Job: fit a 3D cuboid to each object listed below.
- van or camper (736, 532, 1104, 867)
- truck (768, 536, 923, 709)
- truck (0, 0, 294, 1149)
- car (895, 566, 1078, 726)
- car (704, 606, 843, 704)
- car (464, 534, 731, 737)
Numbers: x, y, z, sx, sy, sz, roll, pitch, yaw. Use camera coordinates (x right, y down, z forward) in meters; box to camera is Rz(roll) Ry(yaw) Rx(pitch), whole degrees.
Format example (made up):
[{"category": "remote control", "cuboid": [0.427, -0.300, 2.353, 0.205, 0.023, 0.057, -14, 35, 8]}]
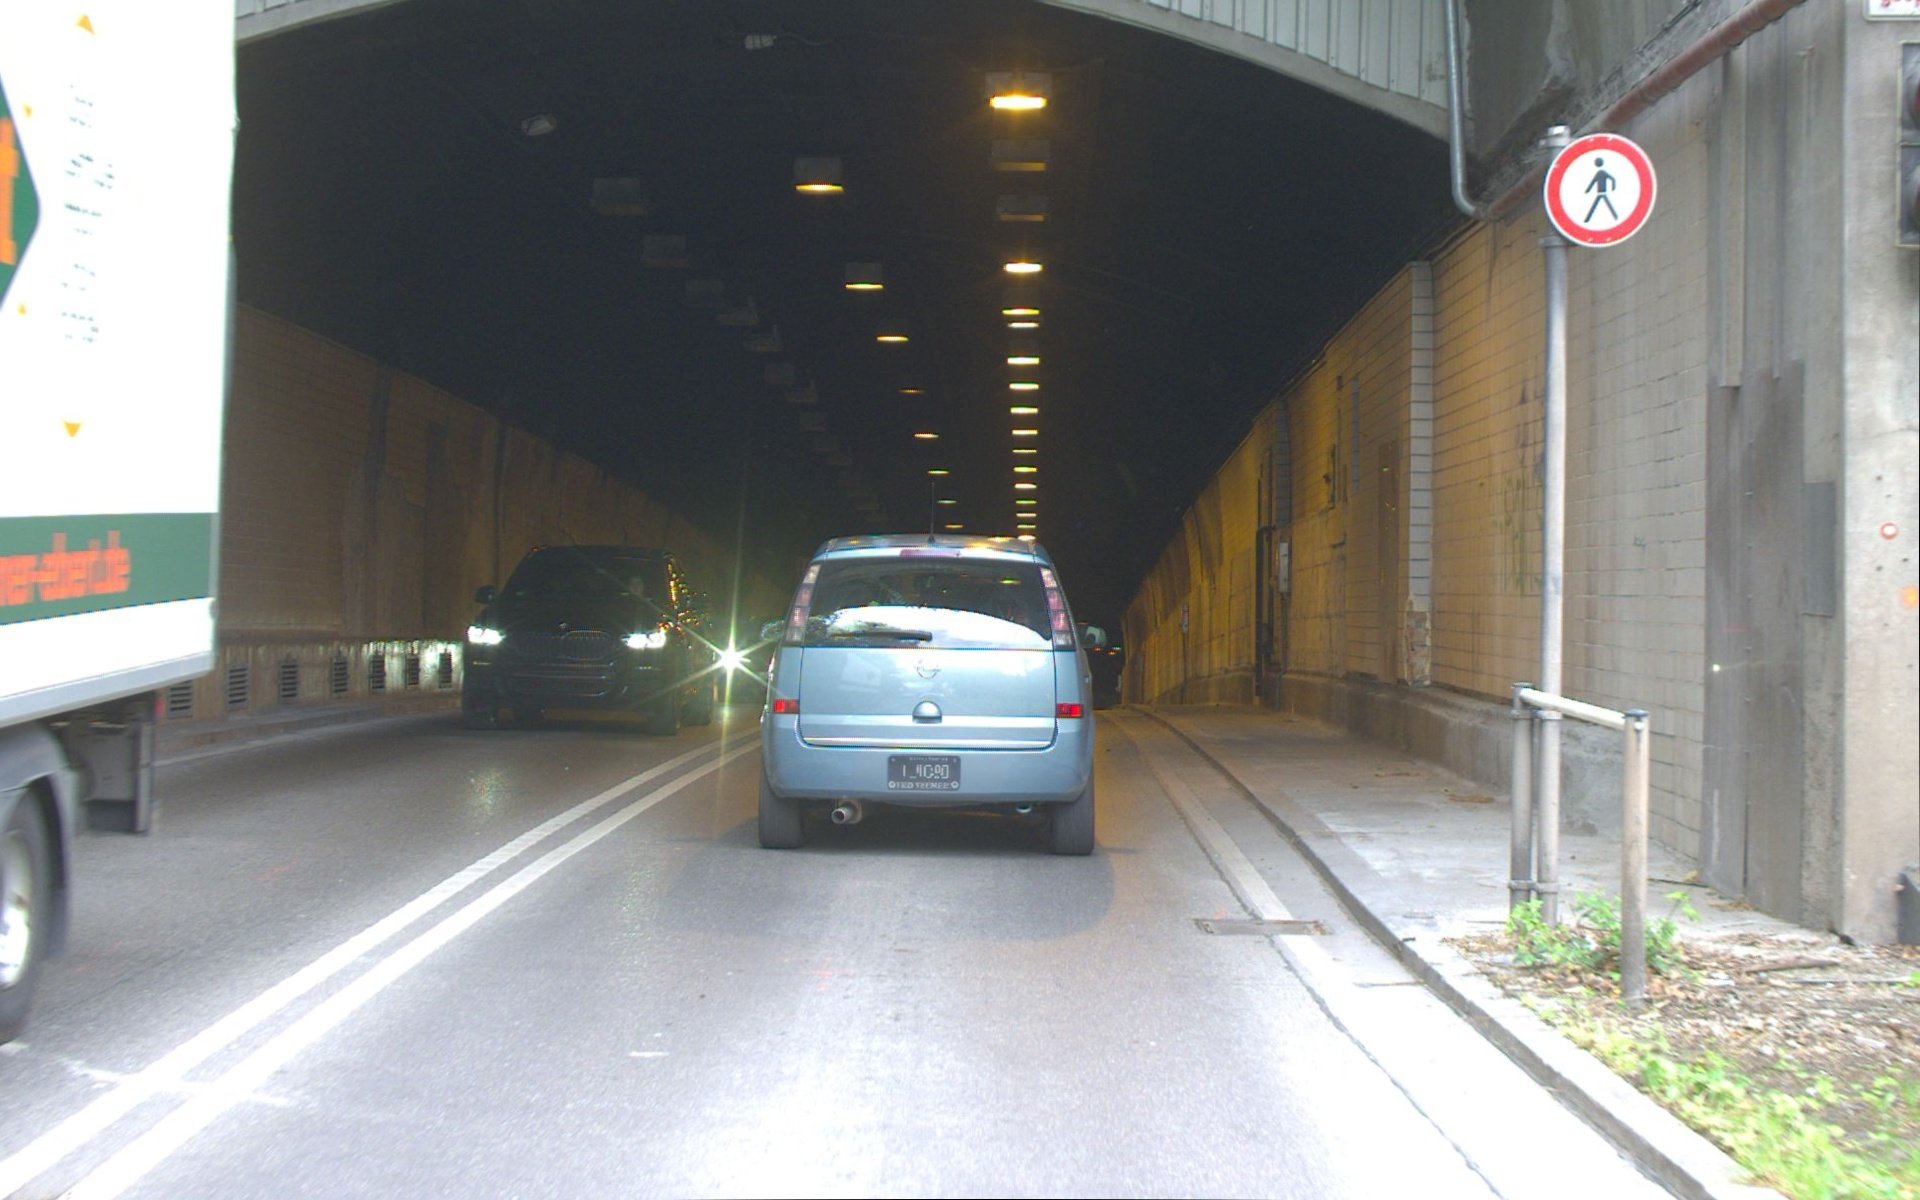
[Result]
[{"category": "van or camper", "cuboid": [-0.196, 0.456, 18.255, 1.735, 1.572, 3.646, 1, 1, 0]}, {"category": "truck", "cuboid": [-2.573, 0.617, 79.617, 2.814, 3.704, 7.544, 1, -2, 4]}, {"category": "truck", "cuboid": [-3.790, -0.427, 8.741, 2.675, 3.654, 7.518, 1, 1, 0]}, {"category": "car", "cuboid": [0.365, 0.490, 39.884, 1.994, 1.647, 4.000, 0, 2, 2]}, {"category": "car", "cuboid": [-2.975, 0.897, 55.659, 1.893, 1.464, 4.160, 2, -1, 1]}, {"category": "car", "cuboid": [-3.204, 0.290, 31.204, 1.879, 1.670, 4.377, 1, 0, 1]}]
